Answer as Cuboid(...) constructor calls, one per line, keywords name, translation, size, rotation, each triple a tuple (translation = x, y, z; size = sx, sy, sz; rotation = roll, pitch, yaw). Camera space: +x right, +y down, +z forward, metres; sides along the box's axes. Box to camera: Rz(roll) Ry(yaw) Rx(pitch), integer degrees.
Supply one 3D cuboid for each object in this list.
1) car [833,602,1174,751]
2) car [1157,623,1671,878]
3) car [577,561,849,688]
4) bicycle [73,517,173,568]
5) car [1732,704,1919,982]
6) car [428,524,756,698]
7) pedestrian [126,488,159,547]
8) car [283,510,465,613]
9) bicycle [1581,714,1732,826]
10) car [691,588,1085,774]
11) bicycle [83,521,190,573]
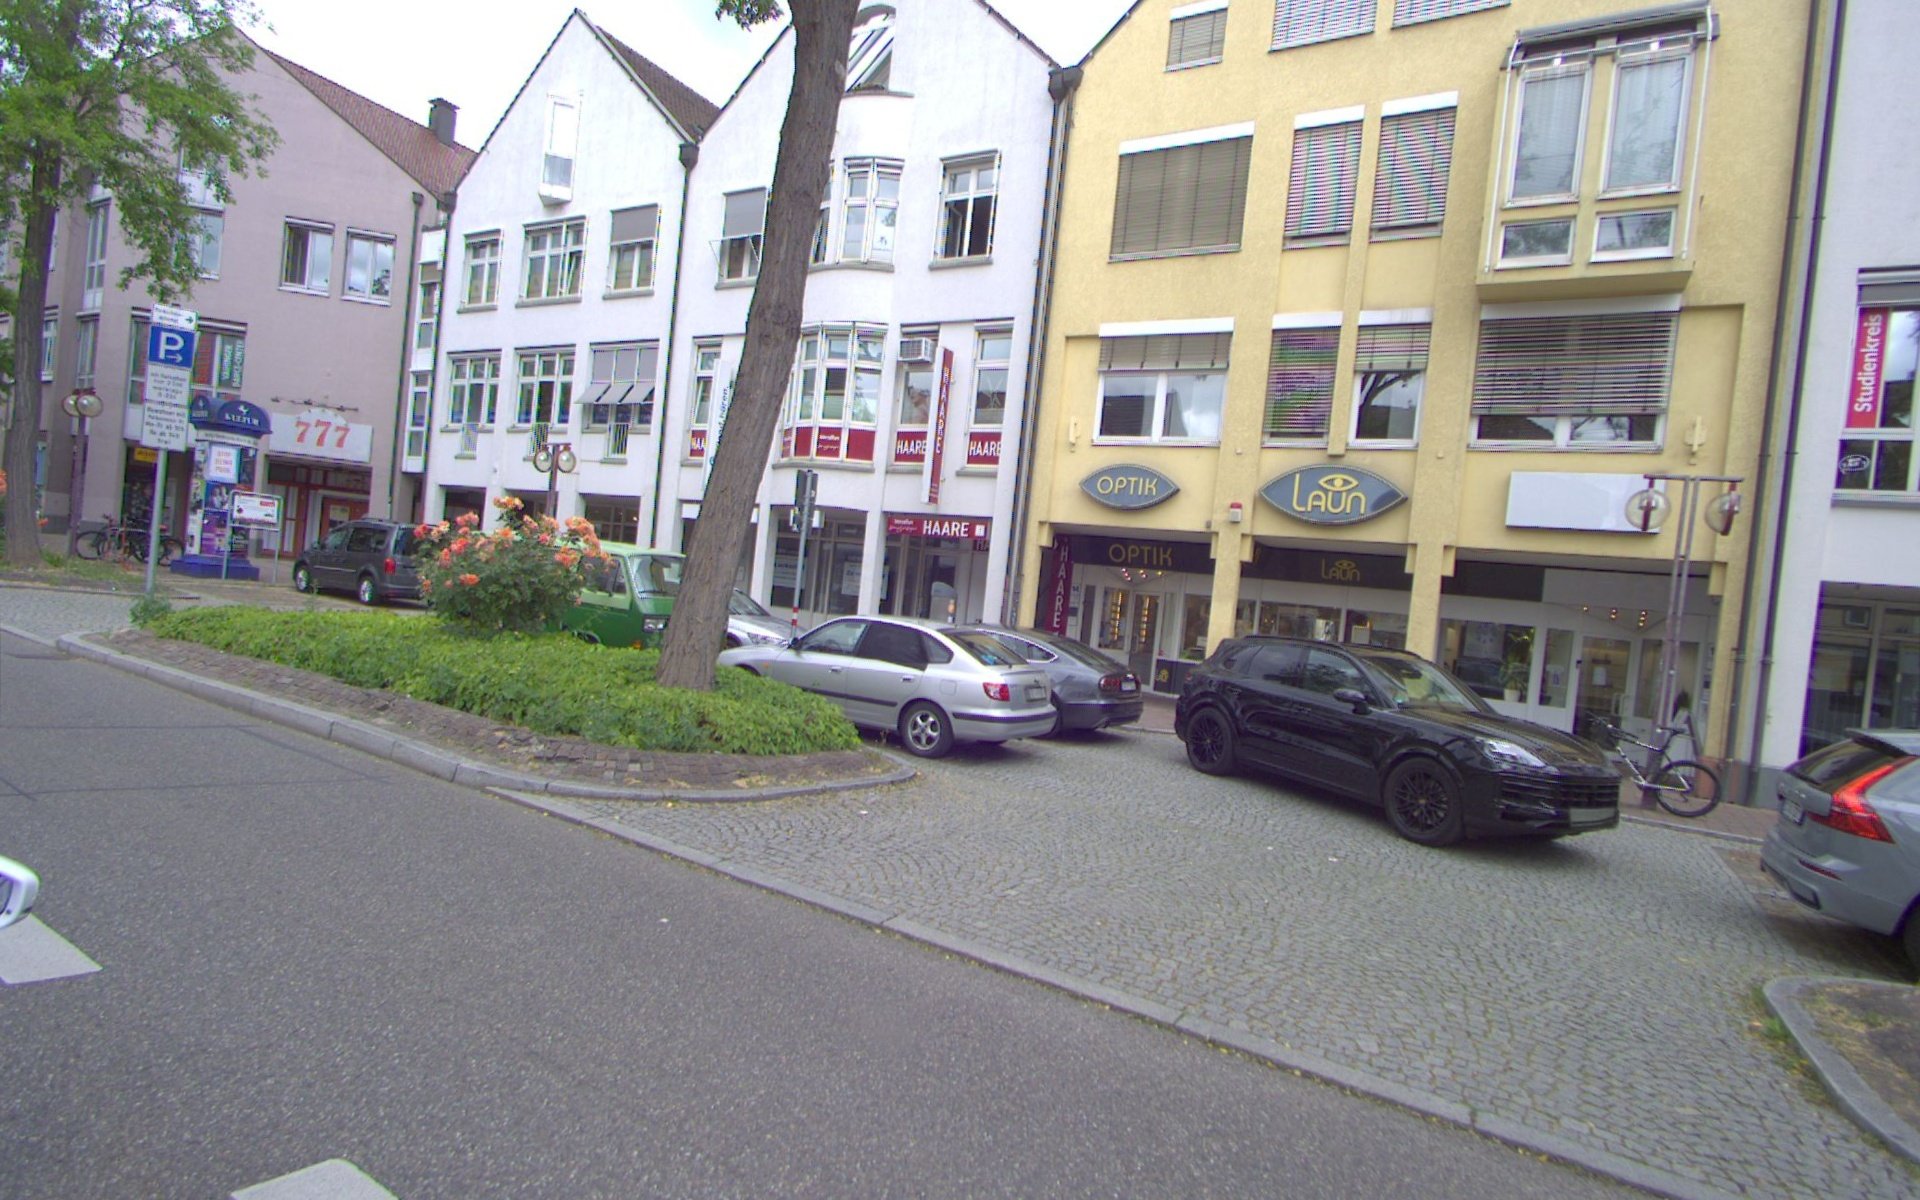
Cuboid(name="car", translation=(0.578, 0.997, 14.376), size=(4.344, 1.394, 1.999), rotation=(7, 1, 30))
Cuboid(name="car", translation=(4.393, 1.352, 10.630), size=(1.838, 1.692, 4.626), rotation=(5, 1, -30))
Cuboid(name="car", translation=(-4.211, 0.368, 16.948), size=(4.320, 1.562, 1.797), rotation=(7, 2, 30))
Cuboid(name="bicycle", translation=(-20.552, -1.393, 24.743), size=(0.440, 1.009, 1.769), rotation=(7, 0, 36))
Cuboid(name="car", translation=(8.118, 1.852, 6.394), size=(4.682, 1.615, 1.997), rotation=(7, 0, 29))
Cuboid(name="car", translation=(-5.386, 0.090, 14.558), size=(4.527, 1.900, 1.882), rotation=(7, 2, 30))
Cuboid(name="pedestrian", translation=(-26.918, -2.710, 33.138), size=(0.646, 1.857, 0.604), rotation=(6, 1, -36))
Cuboid(name="car", translation=(-13.283, -0.884, 22.771), size=(3.898, 1.855, 1.639), rotation=(7, 1, 28))
Cuboid(name="bicycle", translation=(8.286, 2.008, 12.025), size=(1.356, 1.058, 0.392), rotation=(7, 2, 32))
Cuboid(name="car", translation=(-0.927, 0.857, 12.016), size=(4.344, 1.468, 1.765), rotation=(7, 0, 30))
Cuboid(name="bicycle", translation=(-20.047, -1.281, 24.539), size=(0.460, 1.009, 1.901), rotation=(7, 0, 36))
